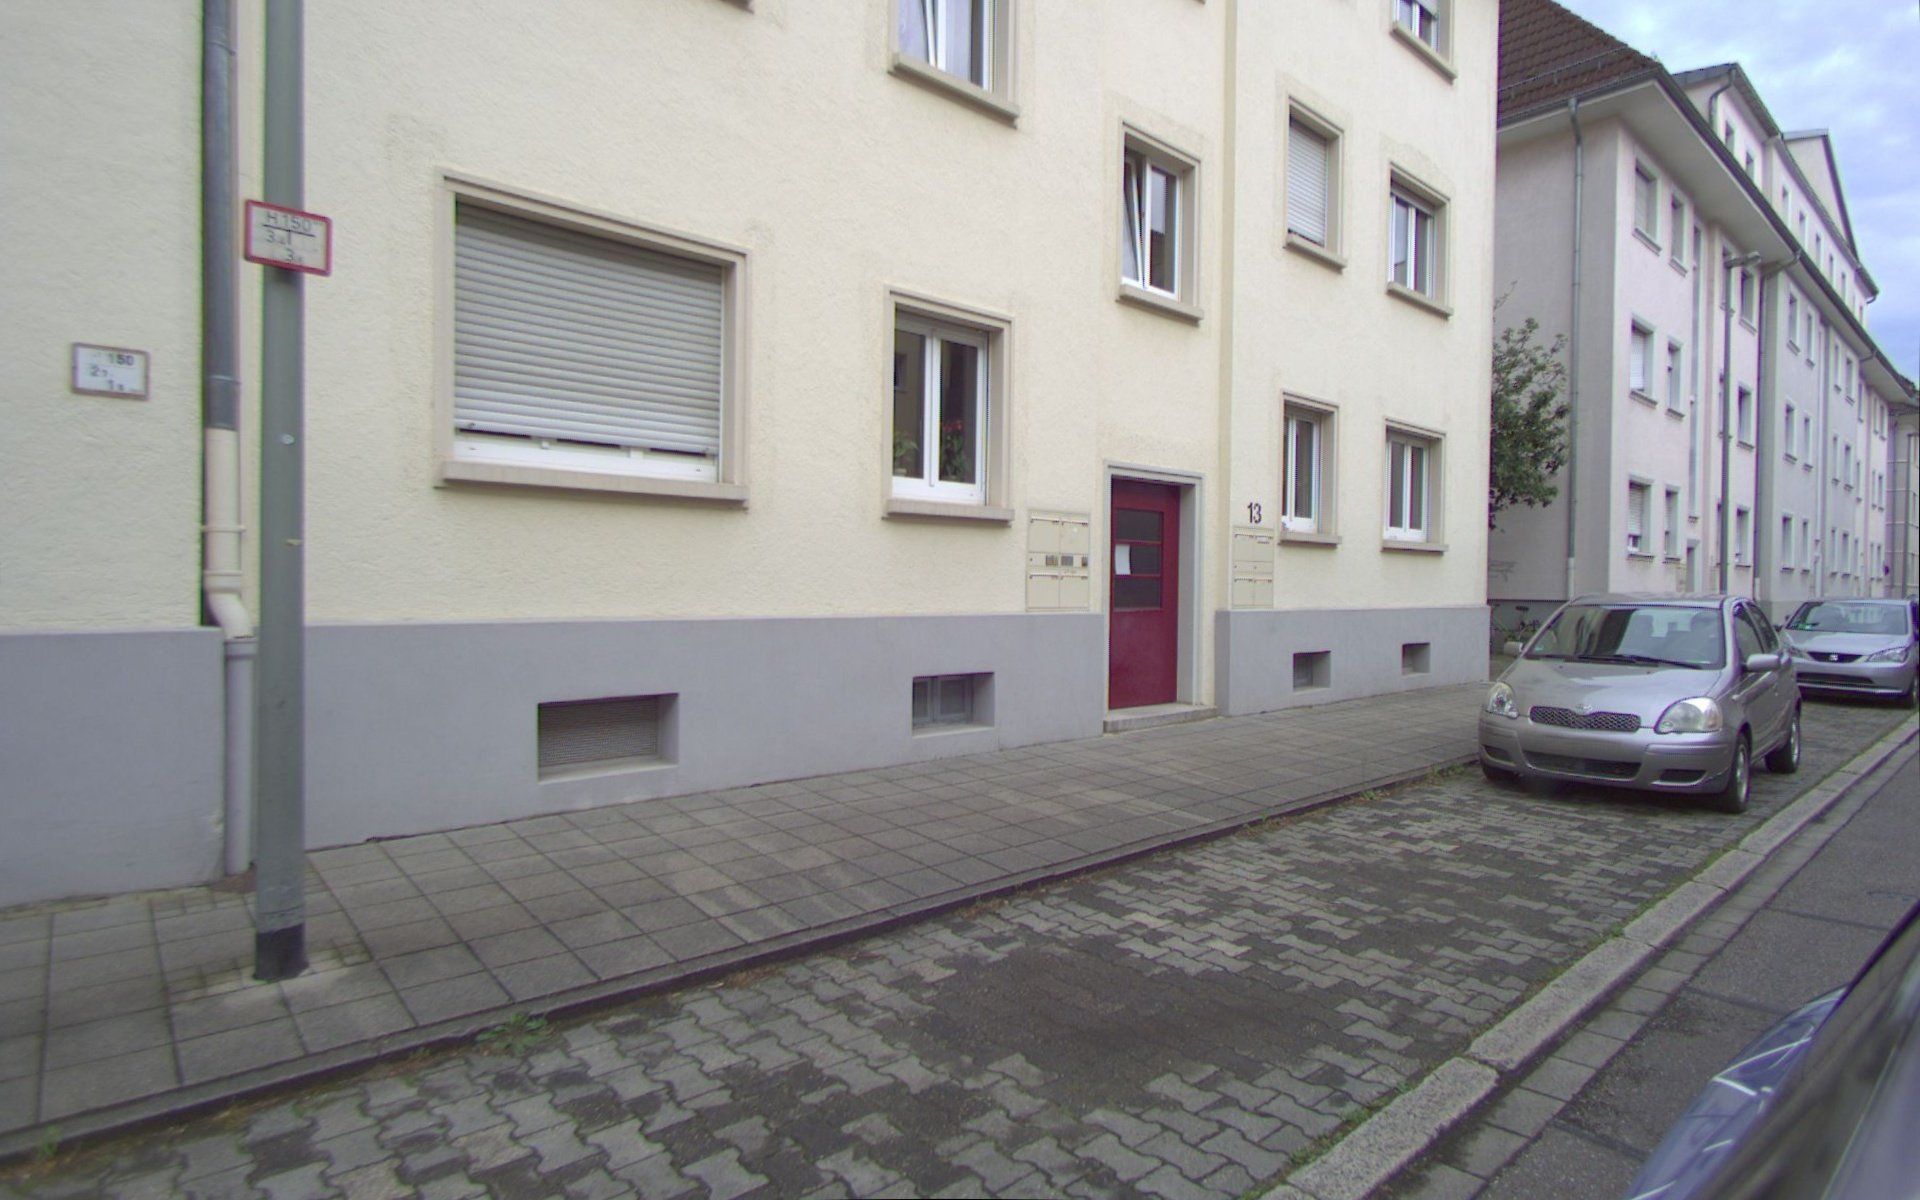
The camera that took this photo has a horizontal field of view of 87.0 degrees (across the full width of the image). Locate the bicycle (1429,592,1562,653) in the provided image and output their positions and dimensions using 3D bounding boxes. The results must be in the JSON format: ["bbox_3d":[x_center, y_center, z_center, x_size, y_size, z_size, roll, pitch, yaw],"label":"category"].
[{"bbox_3d":[10.492,0.411,19.905,0.637,1.090,2.211,0,1,-42],"label":"bicycle"}]

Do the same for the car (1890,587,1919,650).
[{"bbox_3d":[24.710,0.446,25.310,4.191,1.487,1.728,-1,2,-42],"label":"car"}]

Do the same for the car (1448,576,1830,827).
[{"bbox_3d":[5.702,0.602,8.298,3.992,1.536,1.727,-1,2,-43],"label":"car"}]

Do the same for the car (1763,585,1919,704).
[{"bbox_3d":[13.312,0.550,14.876,3.991,1.510,1.728,-1,1,-42],"label":"car"}]

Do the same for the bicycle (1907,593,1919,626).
[{"bbox_3d":[34.089,0.331,35.841,2.088,1.154,0.606,0,2,-42],"label":"bicycle"}]
